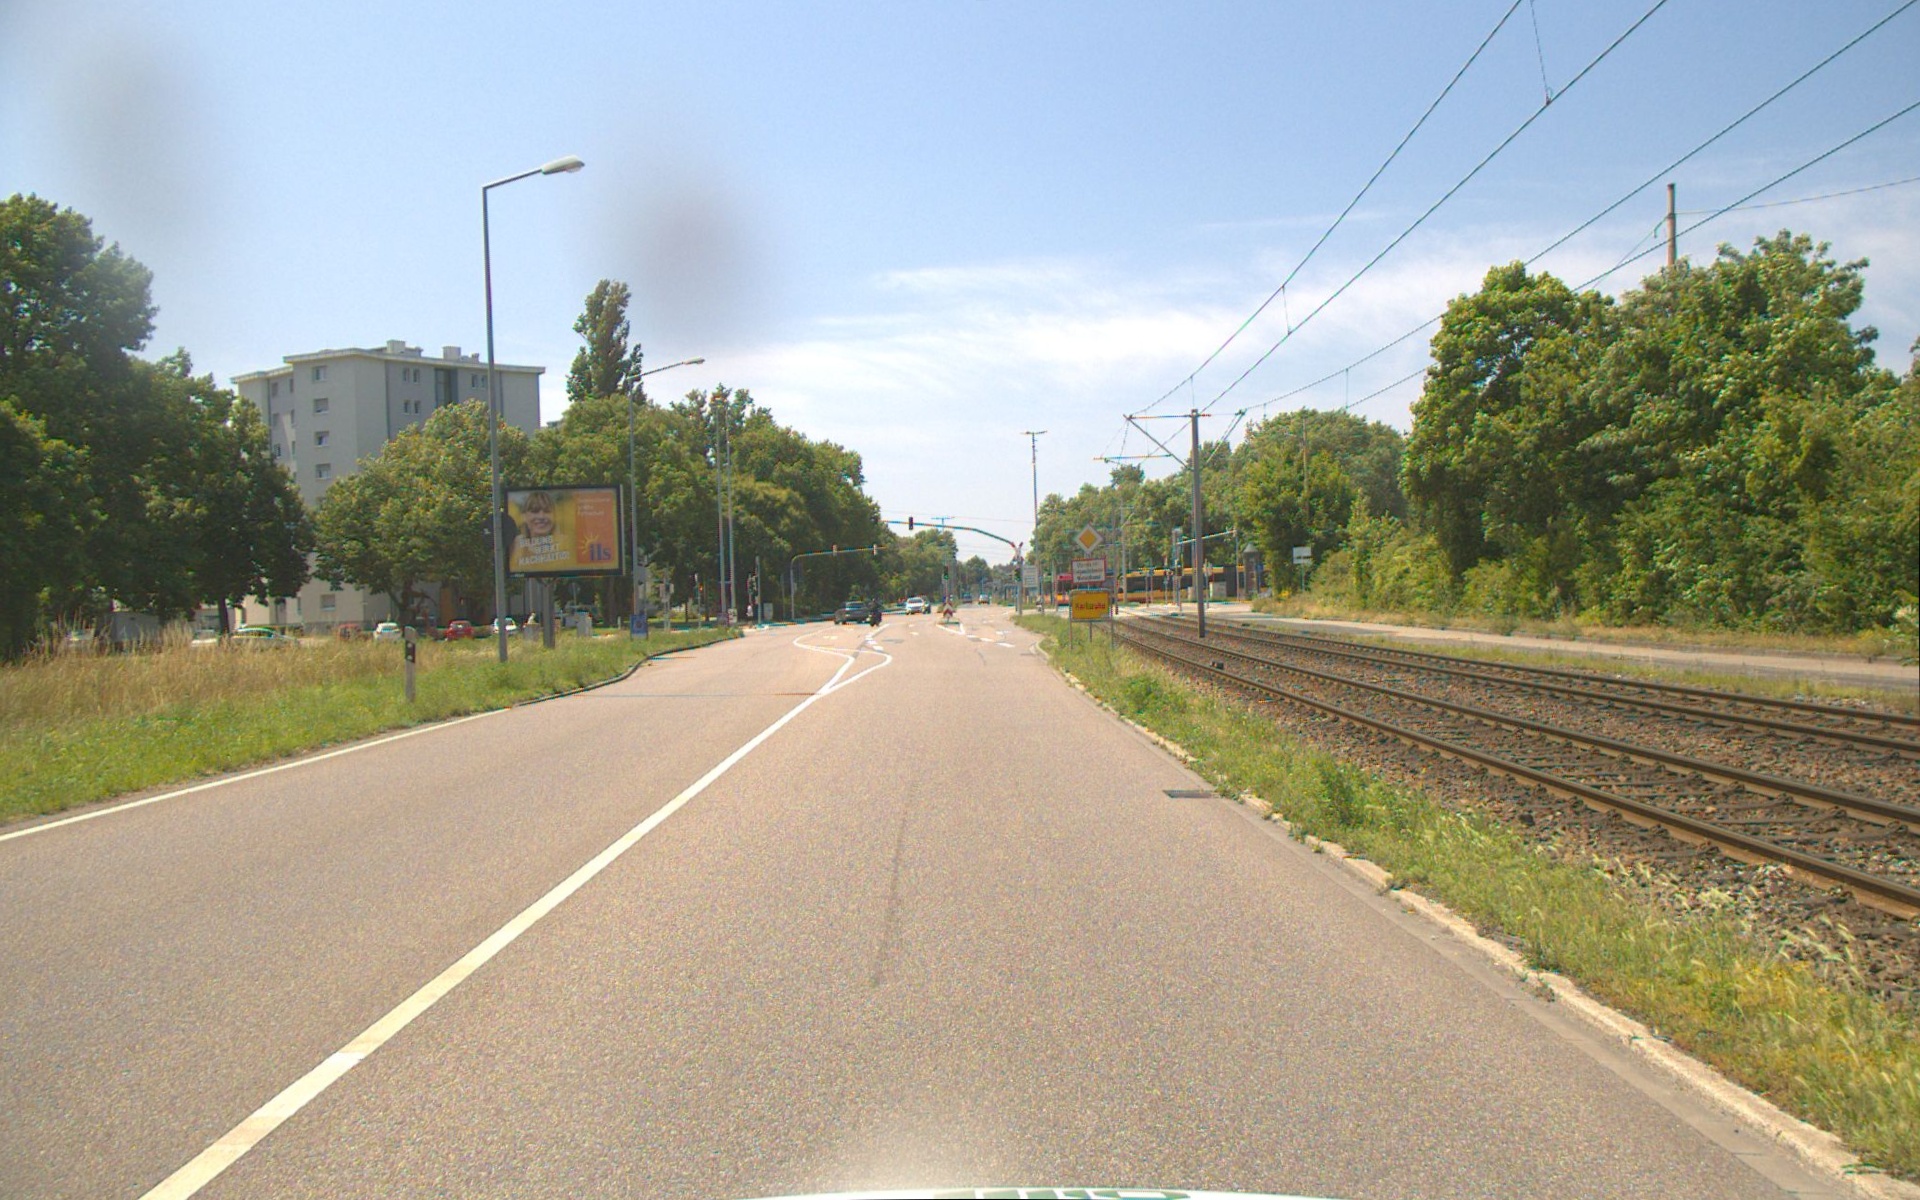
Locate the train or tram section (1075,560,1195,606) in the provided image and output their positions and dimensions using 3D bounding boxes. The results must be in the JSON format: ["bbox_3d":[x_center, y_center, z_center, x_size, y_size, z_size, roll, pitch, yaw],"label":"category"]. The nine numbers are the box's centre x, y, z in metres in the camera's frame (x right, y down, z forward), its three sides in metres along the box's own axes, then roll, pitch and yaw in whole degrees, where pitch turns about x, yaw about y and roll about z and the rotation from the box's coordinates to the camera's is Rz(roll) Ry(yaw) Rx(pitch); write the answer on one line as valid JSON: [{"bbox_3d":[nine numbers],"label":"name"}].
[{"bbox_3d":[17.767,-1.682,169.294,13.226,3.879,2.903,-4,-4,44],"label":"train or tram section"}]

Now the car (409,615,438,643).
[{"bbox_3d":[-37.332,2.008,115.068,1.681,1.832,3.973,-1,0,-22],"label":"car"}]

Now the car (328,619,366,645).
[{"bbox_3d":[-42.092,2.162,113.487,1.827,1.697,3.960,-1,0,-30],"label":"car"}]

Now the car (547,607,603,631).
[{"bbox_3d":[-33.187,1.621,142.565,1.758,1.799,4.525,-2,0,40],"label":"car"}]

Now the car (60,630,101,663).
[{"bbox_3d":[-56.503,2.967,106.311,1.820,1.982,3.973,-1,0,-22],"label":"car"}]

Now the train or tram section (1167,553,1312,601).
[{"bbox_3d":[27.500,-2.225,163.180,13.713,3.988,2.922,-2,-3,23],"label":"train or tram section"}]

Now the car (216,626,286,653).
[{"bbox_3d":[-43.508,2.393,101.529,3.835,1.494,1.762,-2,0,-25],"label":"car"}]

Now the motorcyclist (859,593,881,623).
[{"bbox_3d":[-5.103,0.472,93.898,0.774,1.671,1.210,-1,0,25],"label":"motorcyclist"}]

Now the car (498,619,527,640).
[{"bbox_3d":[-31.865,2.078,117.620,1.601,1.404,3.975,-1,0,-21],"label":"car"}]

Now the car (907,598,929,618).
[{"bbox_3d":[-3.810,0.703,150.277,1.748,1.657,3.865,-2,0,0],"label":"car"}]

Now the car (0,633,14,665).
[{"bbox_3d":[-61.714,3.117,105.509,1.820,1.982,3.973,-1,0,-22],"label":"car"}]

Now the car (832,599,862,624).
[{"bbox_3d":[-7.301,0.706,107.225,1.869,1.525,4.627,-1,0,-3],"label":"car"}]

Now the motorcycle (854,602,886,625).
[{"bbox_3d":[-5.089,0.769,93.970,0.830,1.277,2.448,-1,0,23],"label":"motorcycle"}]

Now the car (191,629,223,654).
[{"bbox_3d":[-50.101,2.736,110.028,1.664,1.589,3.813,-2,0,-21],"label":"car"}]

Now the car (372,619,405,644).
[{"bbox_3d":[-39.522,2.153,114.311,1.684,1.620,3.966,-1,0,-26],"label":"car"}]

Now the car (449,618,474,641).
[{"bbox_3d":[-34.874,2.035,115.796,1.591,1.489,3.983,-1,0,-16],"label":"car"}]
